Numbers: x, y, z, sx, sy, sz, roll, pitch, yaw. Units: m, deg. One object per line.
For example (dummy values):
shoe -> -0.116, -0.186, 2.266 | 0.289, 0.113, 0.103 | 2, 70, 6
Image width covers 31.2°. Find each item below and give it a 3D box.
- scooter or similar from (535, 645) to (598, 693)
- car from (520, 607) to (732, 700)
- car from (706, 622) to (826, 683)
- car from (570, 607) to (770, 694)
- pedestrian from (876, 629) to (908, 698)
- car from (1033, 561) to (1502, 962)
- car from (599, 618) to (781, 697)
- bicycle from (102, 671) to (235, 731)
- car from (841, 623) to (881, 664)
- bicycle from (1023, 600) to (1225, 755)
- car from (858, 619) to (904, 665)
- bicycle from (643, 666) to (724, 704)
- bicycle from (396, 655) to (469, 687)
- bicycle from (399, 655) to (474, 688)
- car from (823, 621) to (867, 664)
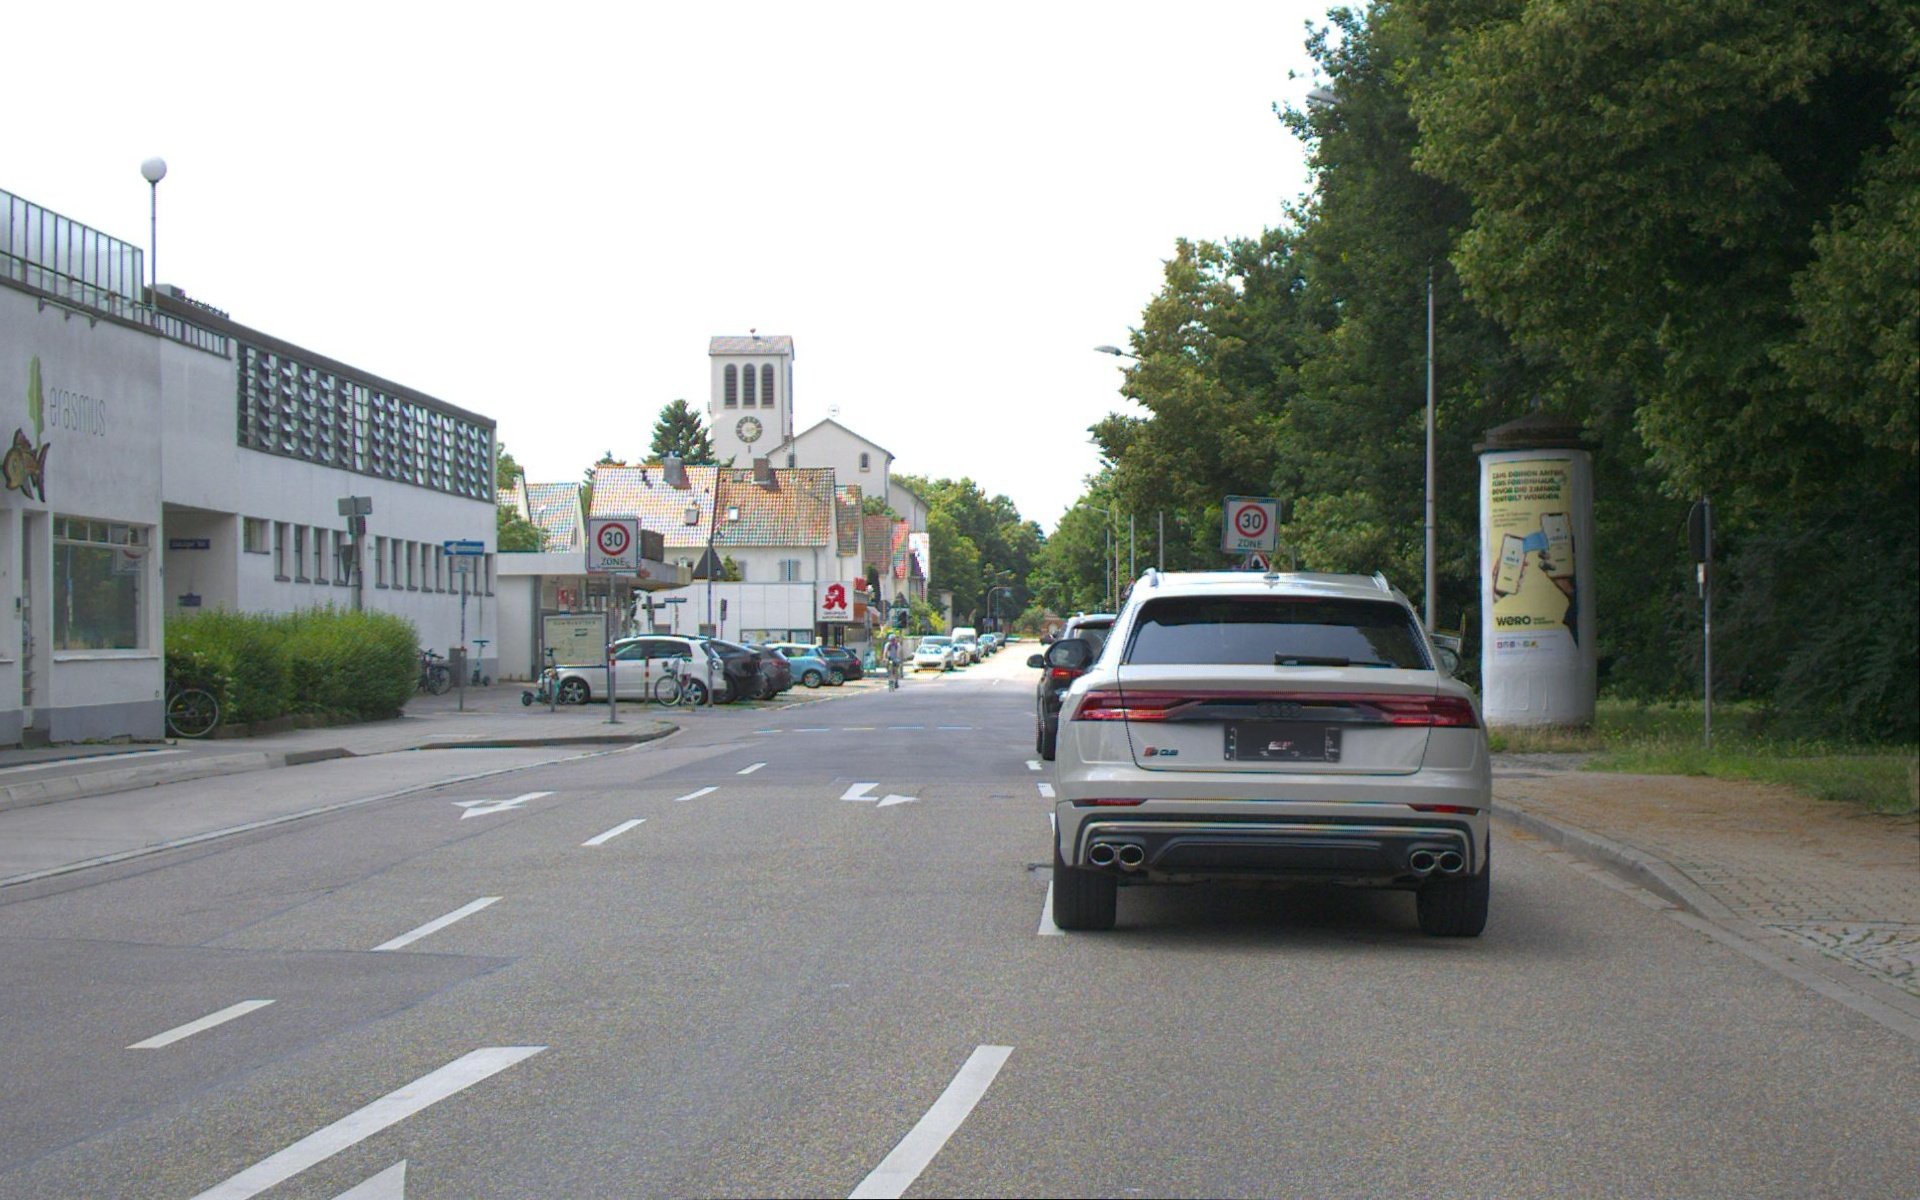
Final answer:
scooter or similar -> -8.311, 1.465, 72.554 | 0.622, 0.992, 1.996 | 1, -2, -29
car -> -7.391, 1.202, 76.401 | 4.631, 2.007, 2.000 | 0, -2, -3
car -> -6.524, 1.762, 115.381 | 3.986, 2.007, 2.000 | 0, -1, -4
car -> -6.781, 1.192, 80.699 | 4.631, 2.007, 2.000 | 0, -2, -3
pedestrian -> -2.097, 1.945, 105.568 | 0.909, 2.128, 1.014 | 0, -1, 3
car -> 1.581, 0.693, 17.064 | 1.982, 1.678, 4.573 | 1, 0, 7
car -> -6.930, 1.495, 88.572 | 4.631, 2.007, 2.000 | 0, -2, -3
bicycle -> -10.330, 1.312, 44.879 | 1.669, 0.755, 0.411 | 0, -1, -16
car -> -5.005, 2.195, 174.138 | 1.993, 2.007, 4.000 | 0, 0, -1
bicycle -> 1.814, 0.853, 39.317 | 1.993, 1.669, 4.208 | 0, 0, -2
car -> -3.502, 1.853, 151.455 | 1.993, 2.007, 4.000 | 0, 0, -1
bicycle -> -5.812, 1.787, 72.314 | 1.669, 0.755, 0.570 | 1, -1, -3
bicycle -> -12.835, 1.734, 83.654 | 1.669, 0.755, 0.570 | 2, -1, -24
bicycle -> -12.623, 1.726, 82.901 | 1.669, 0.755, 0.570 | 2, -1, -24
car -> -5.378, 1.985, 161.219 | 1.993, 2.007, 4.000 | 0, 0, -1
